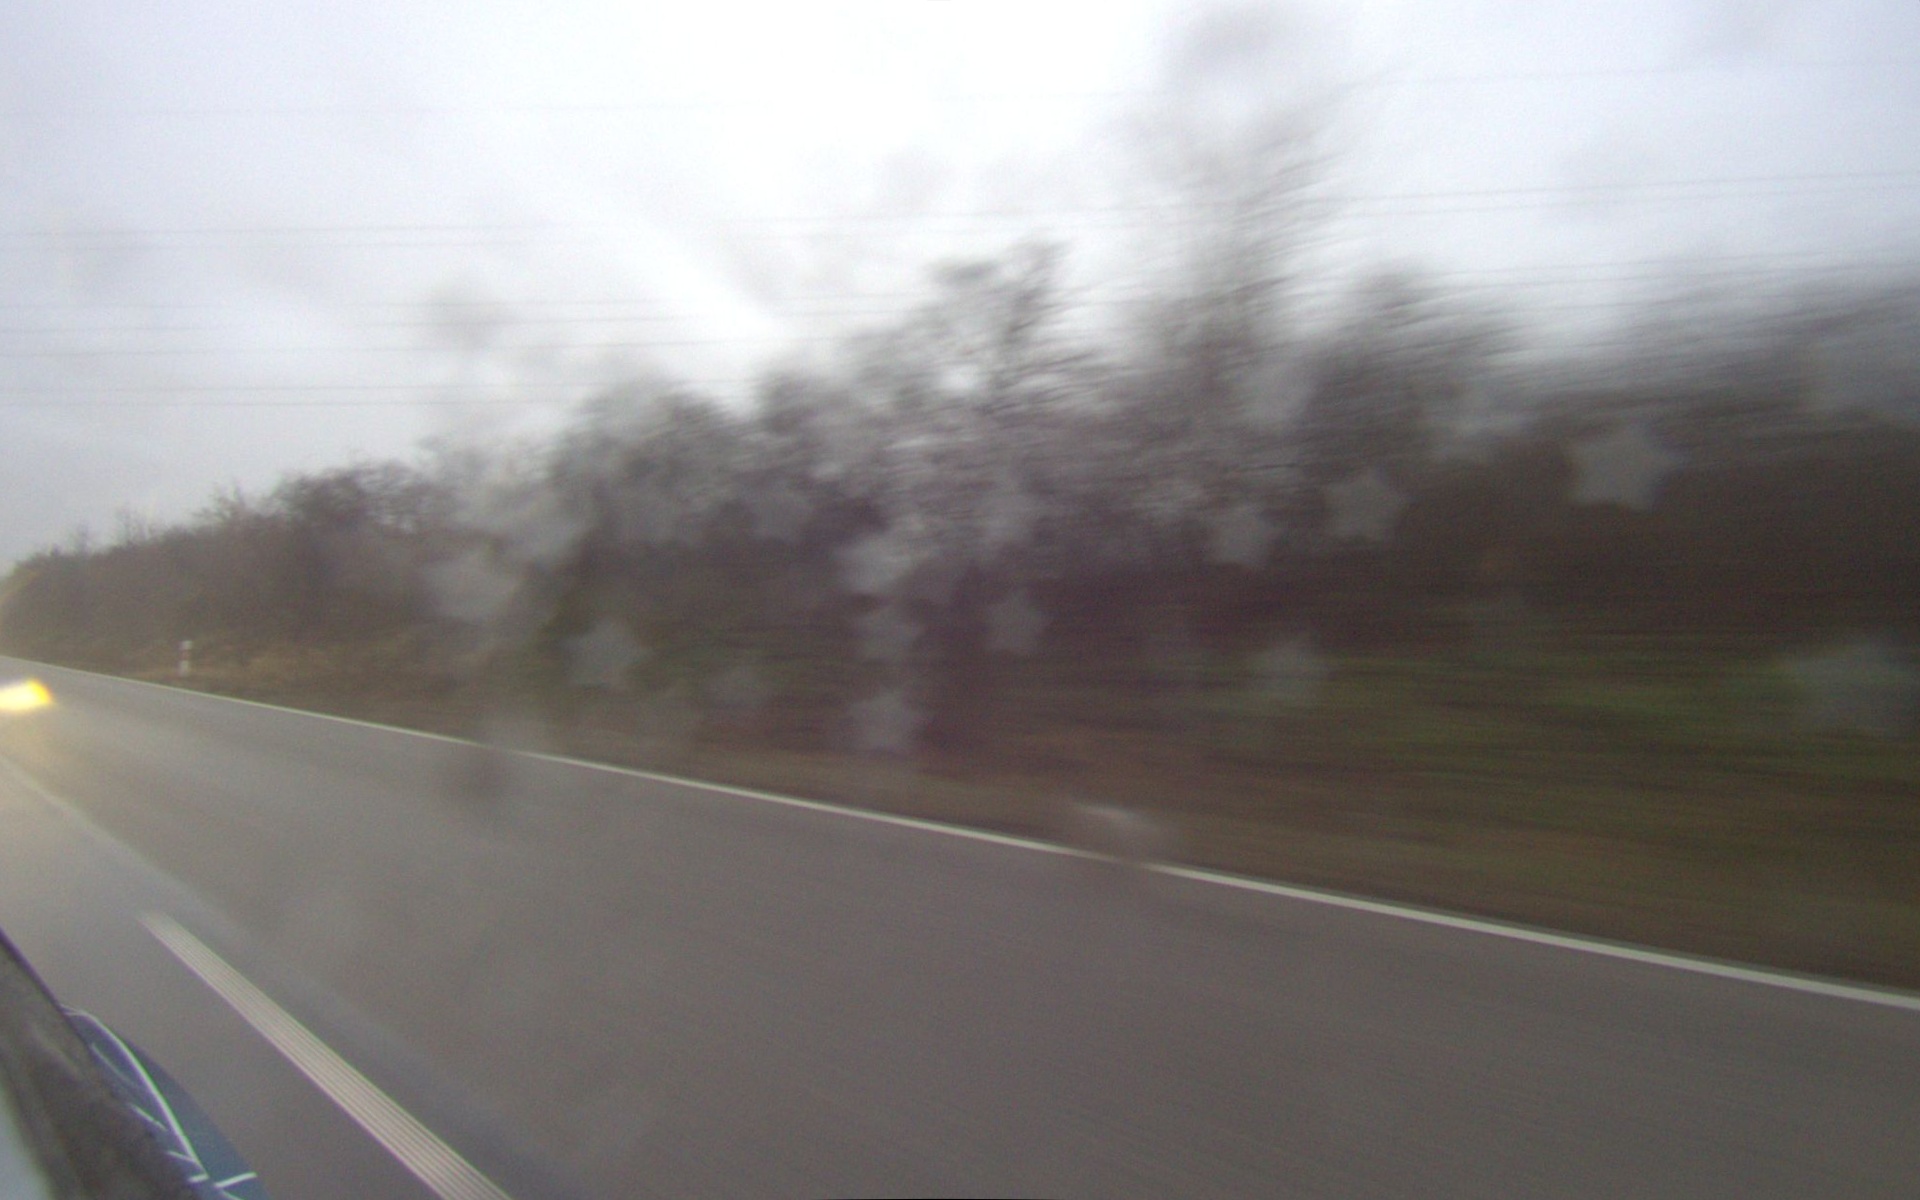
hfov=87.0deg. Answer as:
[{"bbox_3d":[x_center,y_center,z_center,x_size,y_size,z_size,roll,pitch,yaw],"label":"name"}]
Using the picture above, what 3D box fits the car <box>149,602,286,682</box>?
[{"bbox_3d":[-18.509,0.981,25.174,3.999,1.798,1.972,-1,0,42],"label":"car"}]
